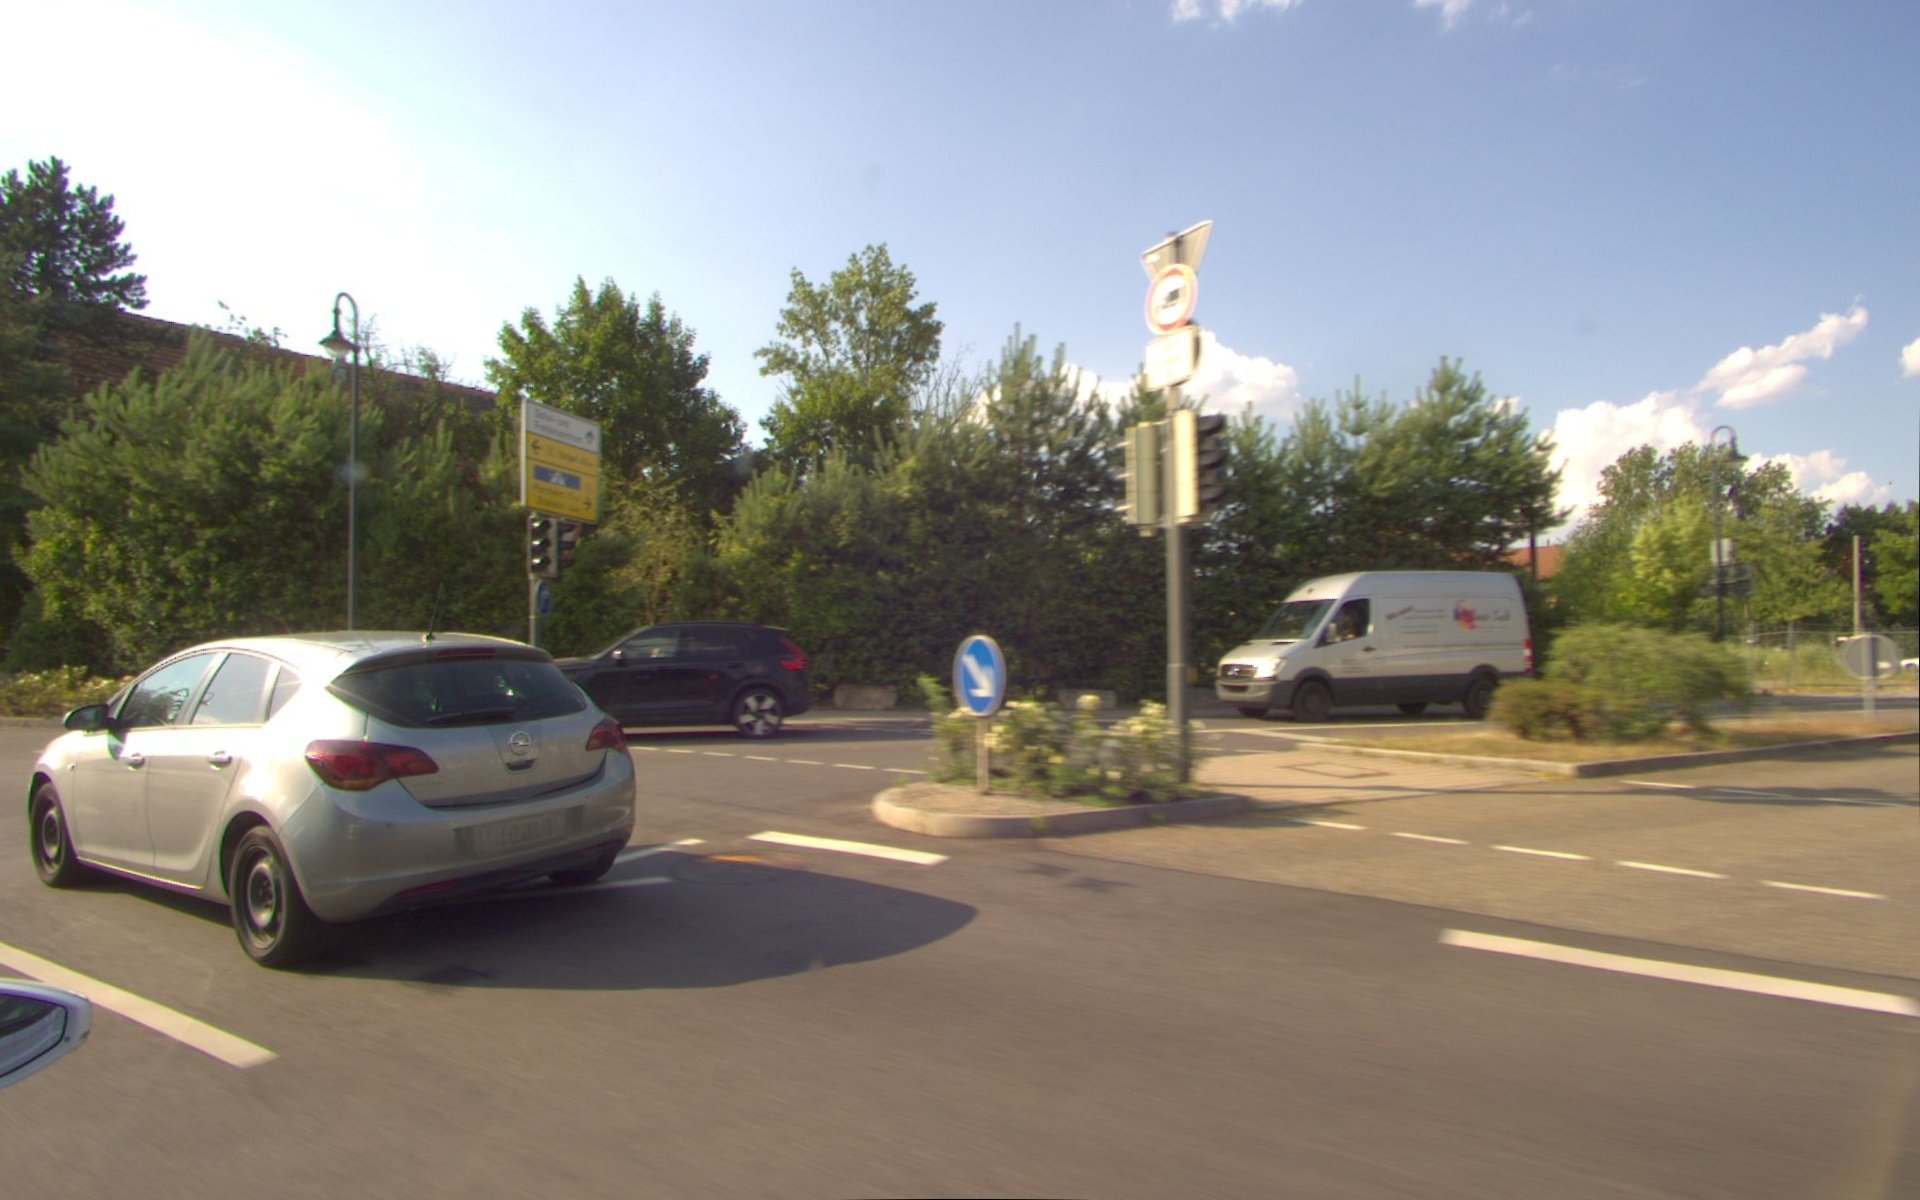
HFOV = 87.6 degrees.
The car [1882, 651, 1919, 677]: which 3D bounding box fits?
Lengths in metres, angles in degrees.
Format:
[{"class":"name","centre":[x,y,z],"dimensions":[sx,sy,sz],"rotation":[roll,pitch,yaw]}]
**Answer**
[{"class":"car","centre":[65.487,4.312,67.692],"dimensions":[1.869,1.745,4.291],"rotation":[0,-2,-33]}]

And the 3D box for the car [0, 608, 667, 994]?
[{"class":"car","centre":[-3.812,0.820,5.802],"dimensions":[4.245,1.509,1.717],"rotation":[-1,-1,33]}]

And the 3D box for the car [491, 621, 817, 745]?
[{"class":"car","centre":[-4.269,1.103,14.347],"dimensions":[4.195,1.587,1.790],"rotation":[0,-1,-17]}]

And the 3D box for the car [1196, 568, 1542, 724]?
[{"class":"car","centre":[7.411,0.802,18.256],"dimensions":[5.756,2.554,2.191],"rotation":[0,-1,-17]}]
